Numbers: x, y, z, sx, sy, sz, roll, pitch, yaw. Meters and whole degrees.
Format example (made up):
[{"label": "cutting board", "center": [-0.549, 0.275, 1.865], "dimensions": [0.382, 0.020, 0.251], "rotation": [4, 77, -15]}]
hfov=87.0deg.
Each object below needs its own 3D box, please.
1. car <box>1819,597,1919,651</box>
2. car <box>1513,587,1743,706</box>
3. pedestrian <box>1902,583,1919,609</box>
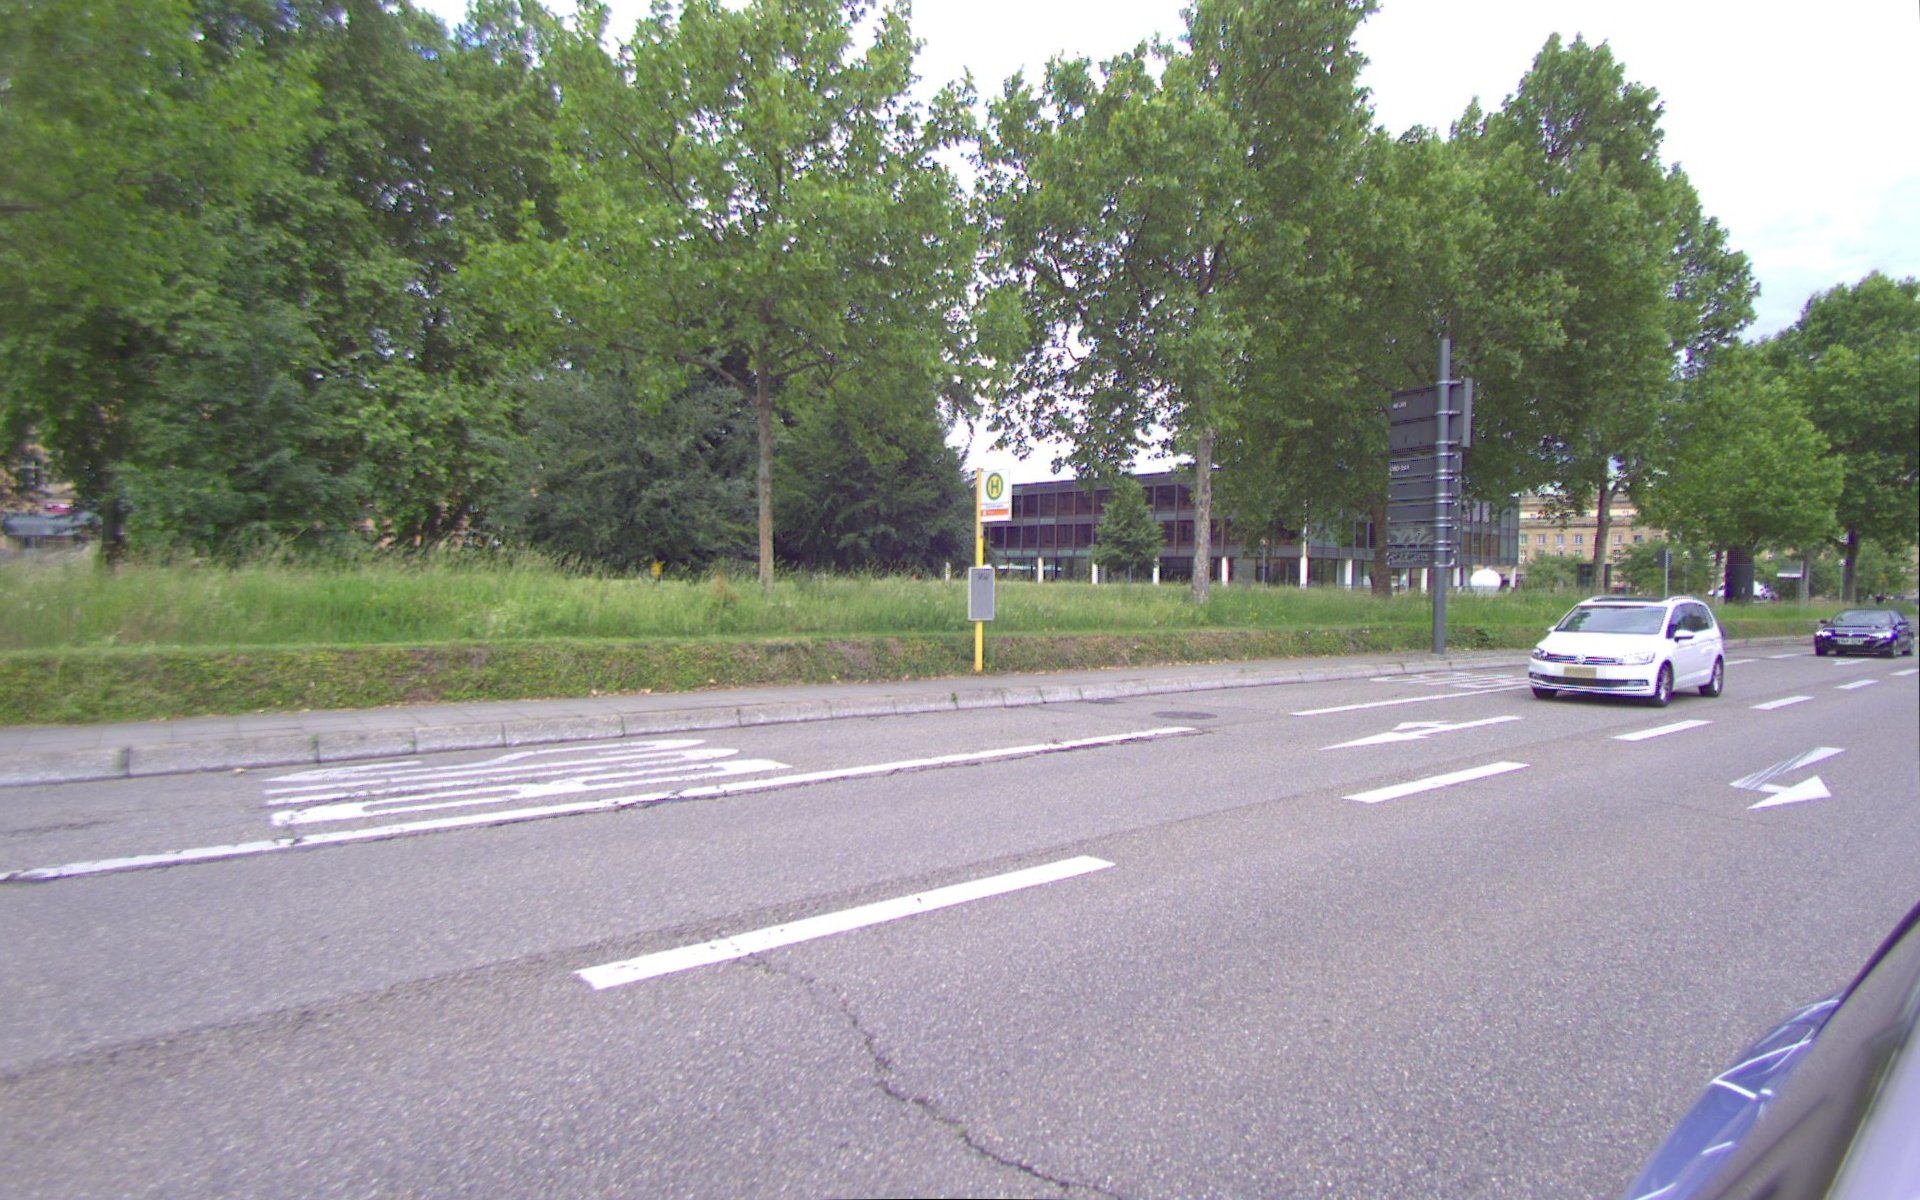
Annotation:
[{"label": "car", "center": [27.755, 0.665, 30.563], "dimensions": [4.445, 1.478, 1.936], "rotation": [-1, 0, -38]}, {"label": "car", "center": [10.893, 0.641, 16.405], "dimensions": [4.228, 1.660, 1.998], "rotation": [0, 1, -40]}, {"label": "pedestrian", "center": [75.913, -0.345, 80.753], "dimensions": [1.160, 2.039, 0.891], "rotation": [-1, 0, -40]}]
